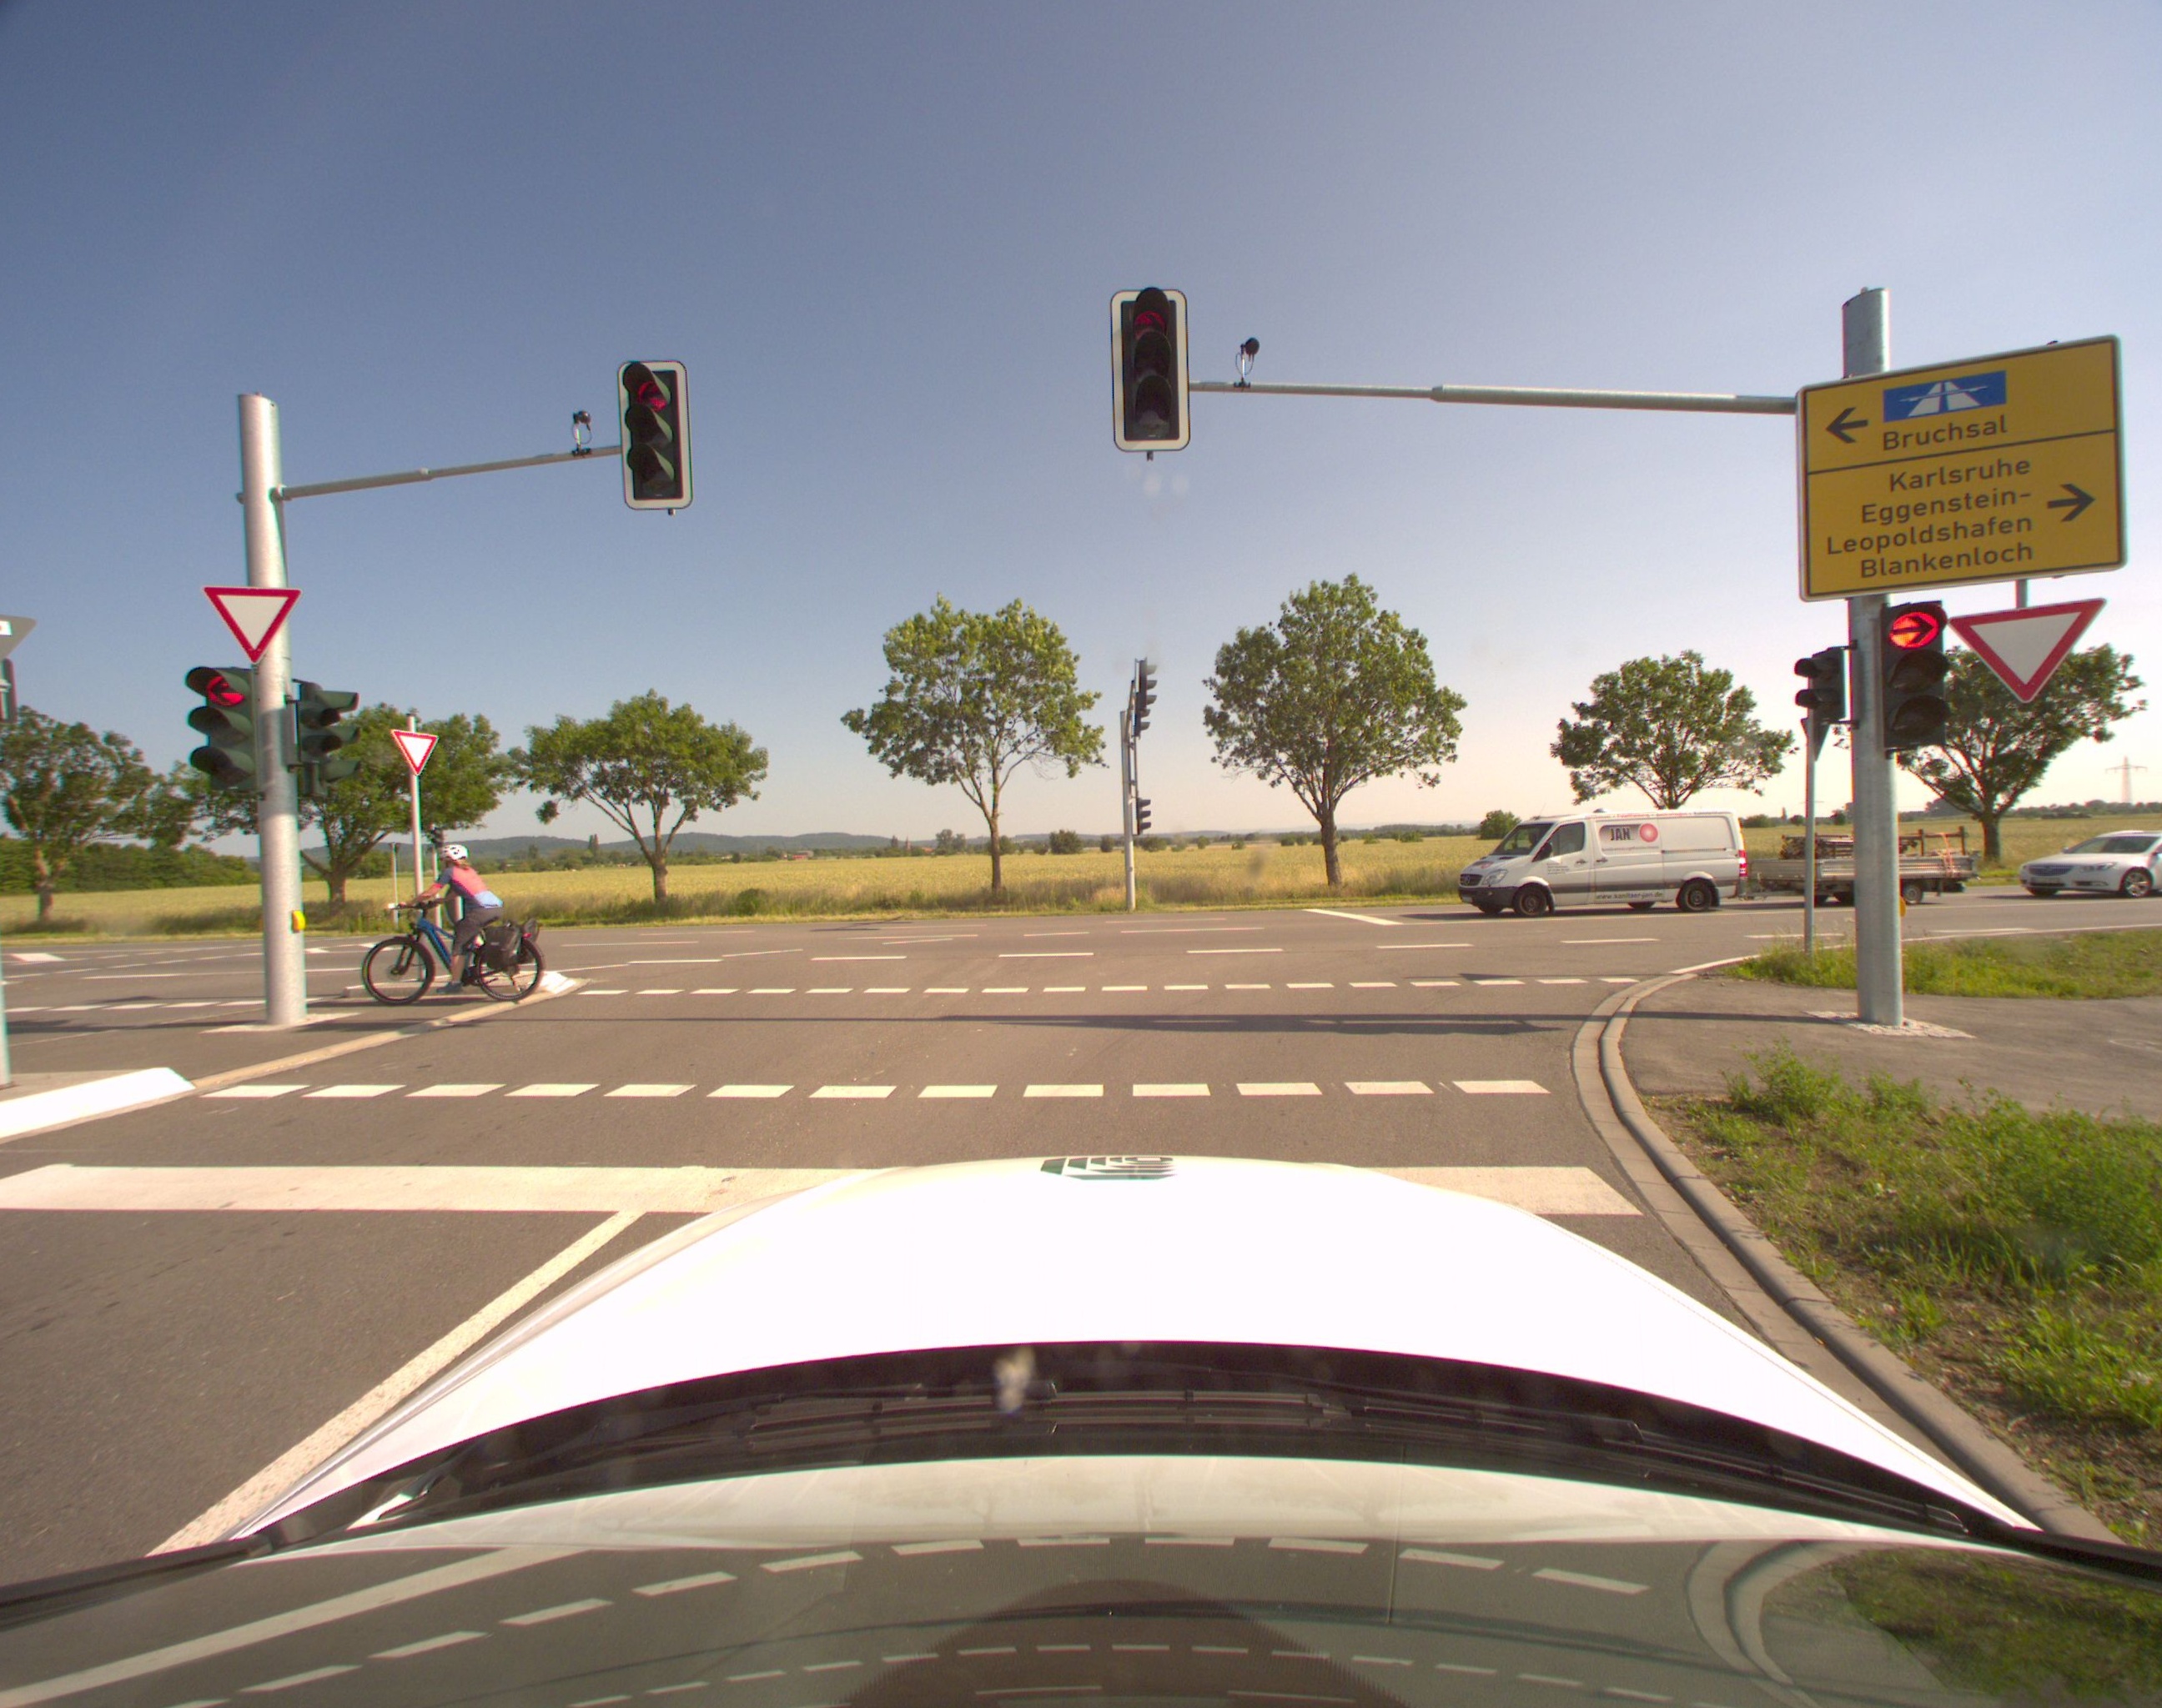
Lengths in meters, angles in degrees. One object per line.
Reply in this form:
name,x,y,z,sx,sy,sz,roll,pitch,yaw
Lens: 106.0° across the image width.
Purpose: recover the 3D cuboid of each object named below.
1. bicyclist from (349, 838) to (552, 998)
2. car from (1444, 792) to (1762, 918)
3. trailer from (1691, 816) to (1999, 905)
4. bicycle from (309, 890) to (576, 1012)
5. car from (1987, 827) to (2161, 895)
bicyclist,-6.820,0.642,8.913,1.276,1.601,1.164,-1,1,-3
car,11.741,0.028,18.614,5.939,2.493,1.999,-2,-1,-1
trailer,17.354,0.145,18.695,5.245,1.753,1.953,-2,-1,-1
bicycle,-6.887,1.020,8.891,2.151,1.186,0.889,-1,-1,-4
car,24.654,0.162,19.074,4.858,1.510,1.997,0,-1,-4
